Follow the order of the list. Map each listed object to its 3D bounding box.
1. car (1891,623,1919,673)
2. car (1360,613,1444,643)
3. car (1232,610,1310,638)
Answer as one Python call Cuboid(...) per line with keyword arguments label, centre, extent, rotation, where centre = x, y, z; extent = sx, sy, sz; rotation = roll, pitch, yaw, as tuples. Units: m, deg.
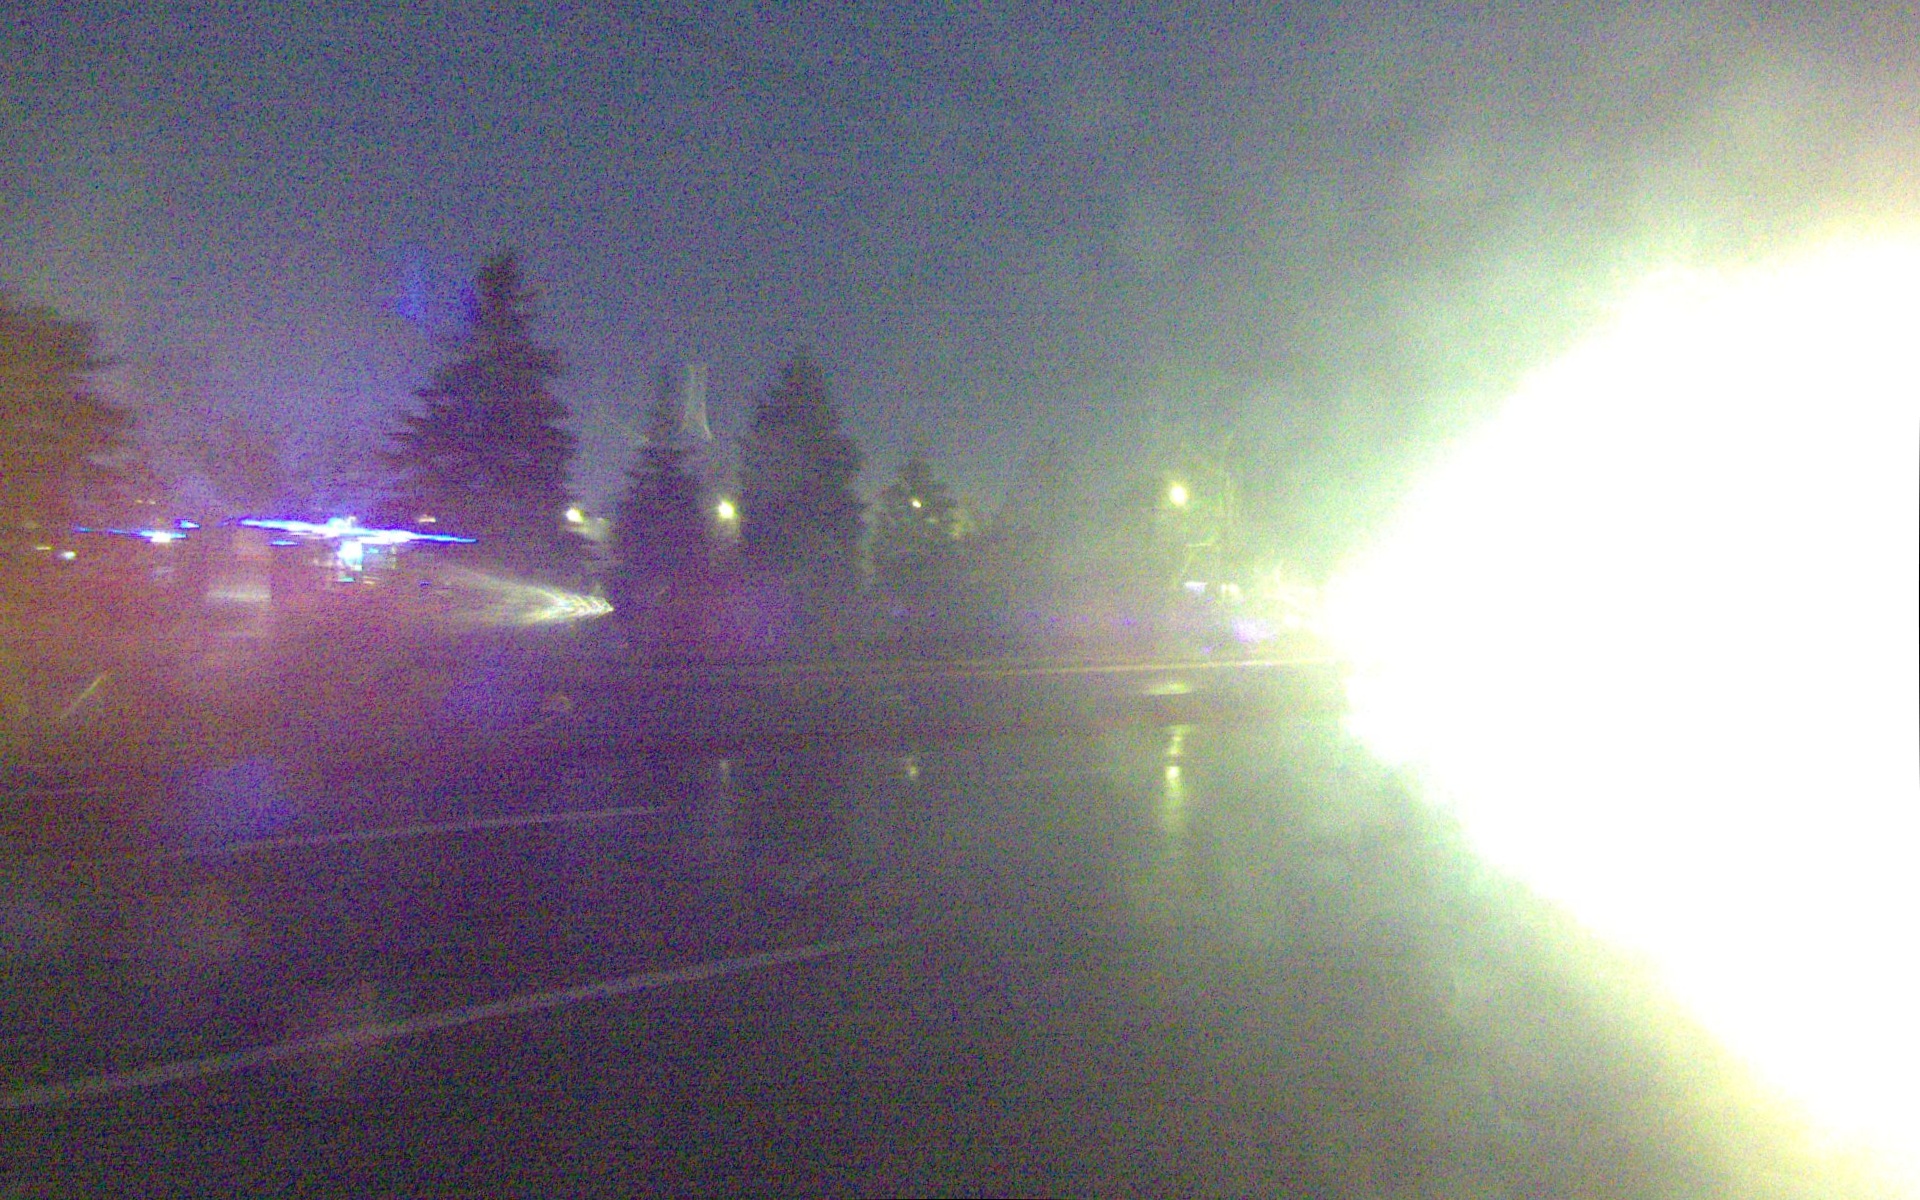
Cuboid(label="car", centre=(33.751, 1.582, 34.213), extent=(4.934, 1.649, 1.981), rotation=(0, -2, -35))
Cuboid(label="car", centre=(25.498, 1.587, 57.944), extent=(4.215, 1.649, 1.995), rotation=(0, -1, 33))
Cuboid(label="car", centre=(19.233, 1.476, 62.143), extent=(4.215, 1.649, 1.995), rotation=(0, -1, 33))
